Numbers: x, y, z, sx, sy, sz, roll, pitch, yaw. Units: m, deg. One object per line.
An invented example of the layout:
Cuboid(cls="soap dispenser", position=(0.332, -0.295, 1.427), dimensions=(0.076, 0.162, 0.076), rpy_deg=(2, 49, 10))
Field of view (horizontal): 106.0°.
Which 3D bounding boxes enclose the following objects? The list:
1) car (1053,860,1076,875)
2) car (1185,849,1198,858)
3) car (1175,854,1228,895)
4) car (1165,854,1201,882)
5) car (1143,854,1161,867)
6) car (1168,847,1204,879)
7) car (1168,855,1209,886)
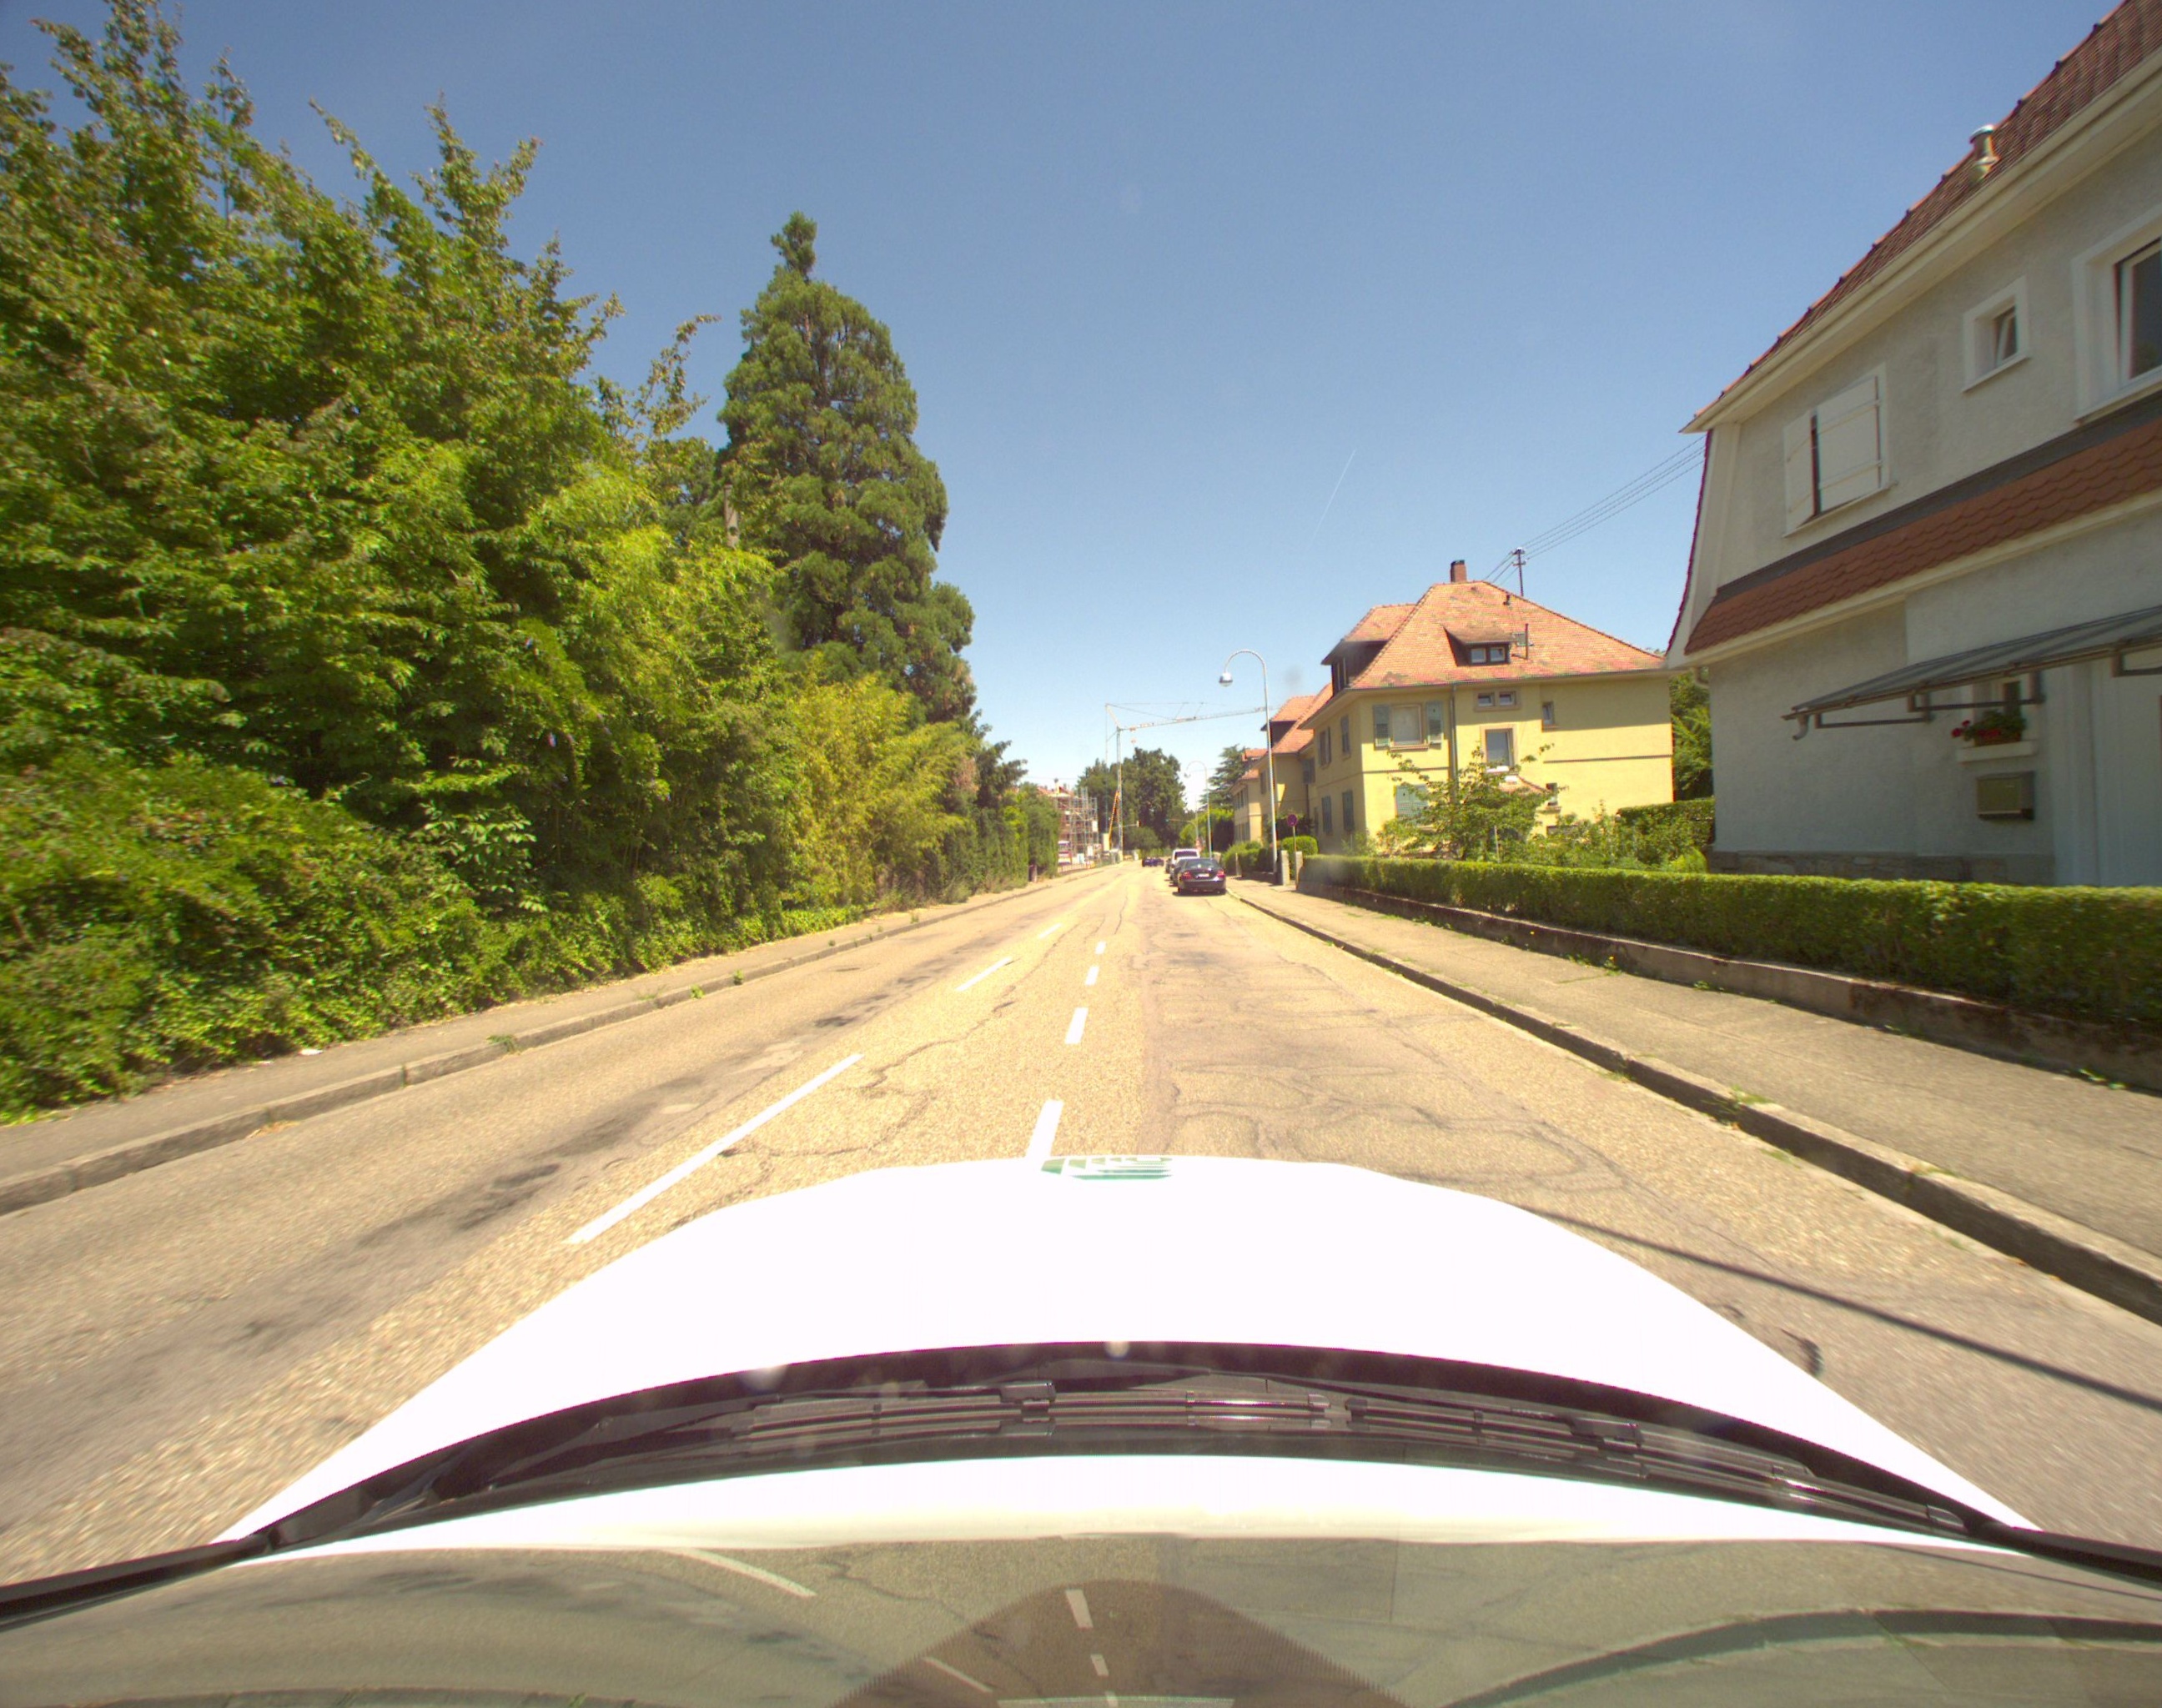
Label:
Cuboid(cls="car", position=(-1.674, 1.374, 85.506), dimensions=(1.649, 1.389, 3.545), rpy_deg=(-3, -1, 11))
Cuboid(cls="car", position=(20.760, -0.082, 152.622), dimensions=(1.980, 1.662, 4.013), rpy_deg=(-3, -1, 12))
Cuboid(cls="car", position=(4.600, 0.771, 31.684), dimensions=(1.685, 1.419, 4.556), rpy_deg=(-2, -1, 4))
Cuboid(cls="car", position=(5.717, 0.772, 45.993), dimensions=(1.753, 1.451, 3.652), rpy_deg=(-2, 0, 4))
Cuboid(cls="car", position=(9.100, 0.862, 104.499), dimensions=(1.946, 1.468, 4.012), rpy_deg=(-3, 1, 10))
Cuboid(cls="car", position=(6.563, 0.552, 51.322), dimensions=(1.984, 1.901, 4.829), rpy_deg=(0, 0, 5))
Cuboid(cls="car", position=(5.397, 0.797, 41.201), dimensions=(1.753, 1.371, 4.612), rpy_deg=(-2, 0, 4))
